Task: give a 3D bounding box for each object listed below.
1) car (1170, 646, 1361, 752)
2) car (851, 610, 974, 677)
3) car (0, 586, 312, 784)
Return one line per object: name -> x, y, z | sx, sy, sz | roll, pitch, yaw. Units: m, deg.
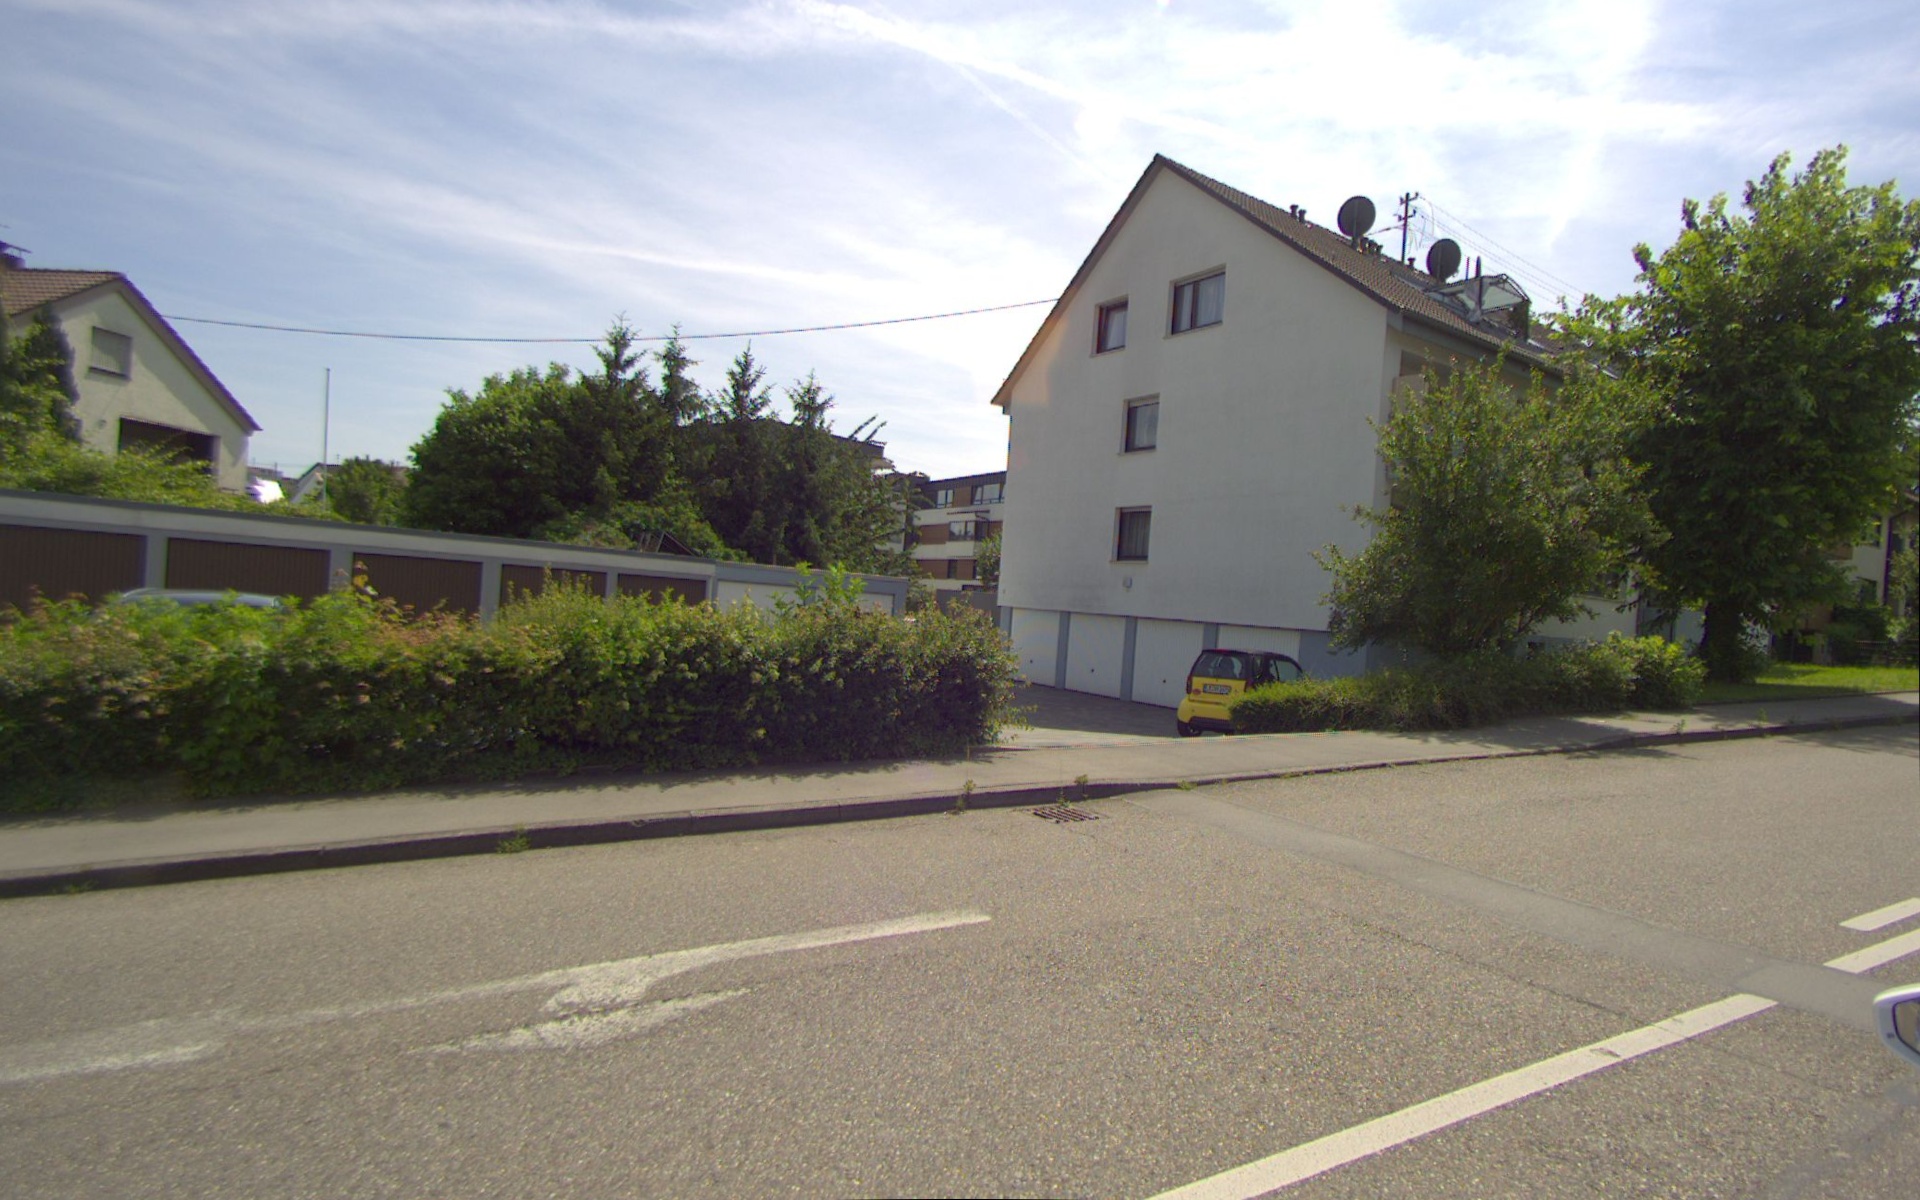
car -> 5.196, 1.641, 16.935 | 3.205, 1.560, 1.460 | 5, -2, -38
car -> -1.514, 1.265, 30.272 | 1.976, 1.483, 4.246 | 6, 0, -28
car -> -7.321, 0.621, 9.473 | 1.979, 1.405, 3.963 | 2, 0, -33
